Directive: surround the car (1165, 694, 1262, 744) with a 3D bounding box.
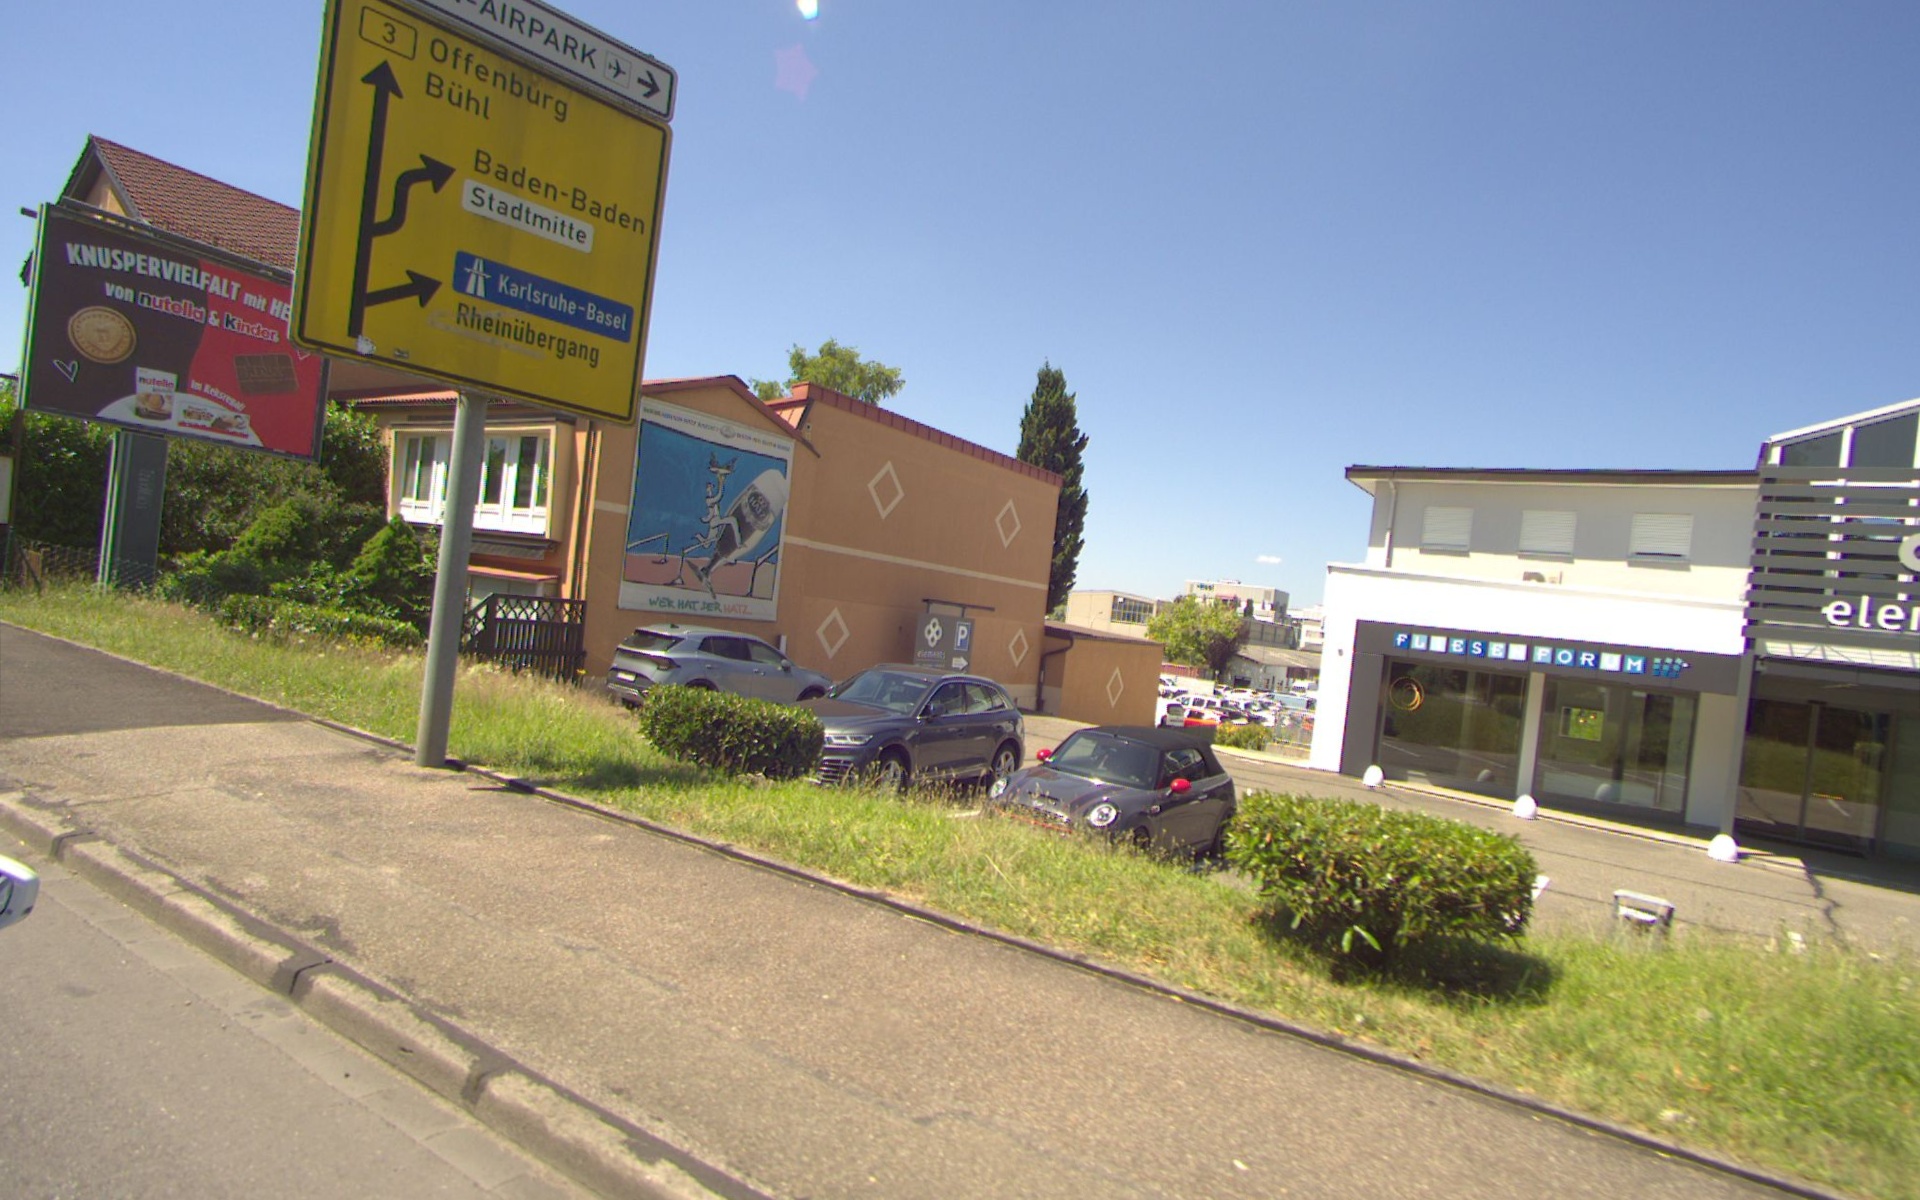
[{"bbox_3d":[11.971,5.603,47.628,3.933,1.673,1.825,8,-1,32],"label":"car"}]

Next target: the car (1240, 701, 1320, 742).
[{"bbox_3d":[17.738,6.732,55.834,3.803,1.591,1.720,8,-1,32],"label":"car"}]

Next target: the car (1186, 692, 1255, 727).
[{"bbox_3d":[15.732,6.590,60.786,3.518,1.475,1.736,8,-1,32],"label":"car"}]

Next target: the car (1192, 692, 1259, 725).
[{"bbox_3d":[16.556,6.760,62.790,3.518,1.475,1.736,8,-1,32],"label":"car"}]

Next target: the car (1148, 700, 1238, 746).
[{"bbox_3d":[10.616,5.571,45.871,3.518,1.475,1.736,8,-1,32],"label":"car"}]

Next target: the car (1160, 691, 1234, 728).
[{"bbox_3d":[13.231,6.085,56.130,3.518,1.475,1.736,8,-1,32],"label":"car"}]

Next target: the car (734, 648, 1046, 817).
[{"bbox_3d":[-0.746,1.726,13.610,1.859,1.666,4.278,8,-1,33],"label":"car"}]

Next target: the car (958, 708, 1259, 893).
[{"bbox_3d":[1.798,2.096,11.238,1.672,1.433,3.623,8,-1,37],"label":"car"}]

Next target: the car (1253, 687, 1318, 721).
[{"bbox_3d":[23.429,7.488,72.381,3.971,1.775,1.841,8,-1,32],"label":"car"}]

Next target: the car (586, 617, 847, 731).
[{"bbox_3d":[-4.301,1.384,18.323,1.861,1.618,4.258,8,0,38],"label":"car"}]

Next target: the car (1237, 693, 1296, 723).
[{"bbox_3d":[21.507,7.581,70.636,3.518,1.475,1.736,8,-1,32],"label":"car"}]

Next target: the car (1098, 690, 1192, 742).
[{"bbox_3d":[8.108,5.054,44.166,3.518,1.643,1.755,8,-1,32],"label":"car"}]

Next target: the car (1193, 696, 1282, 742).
[{"bbox_3d":[14.323,6.120,51.956,3.933,1.673,1.825,8,-1,32],"label":"car"}]

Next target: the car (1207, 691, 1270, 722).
[{"bbox_3d":[18.372,7.013,66.288,3.518,1.475,1.736,8,-1,32],"label":"car"}]
